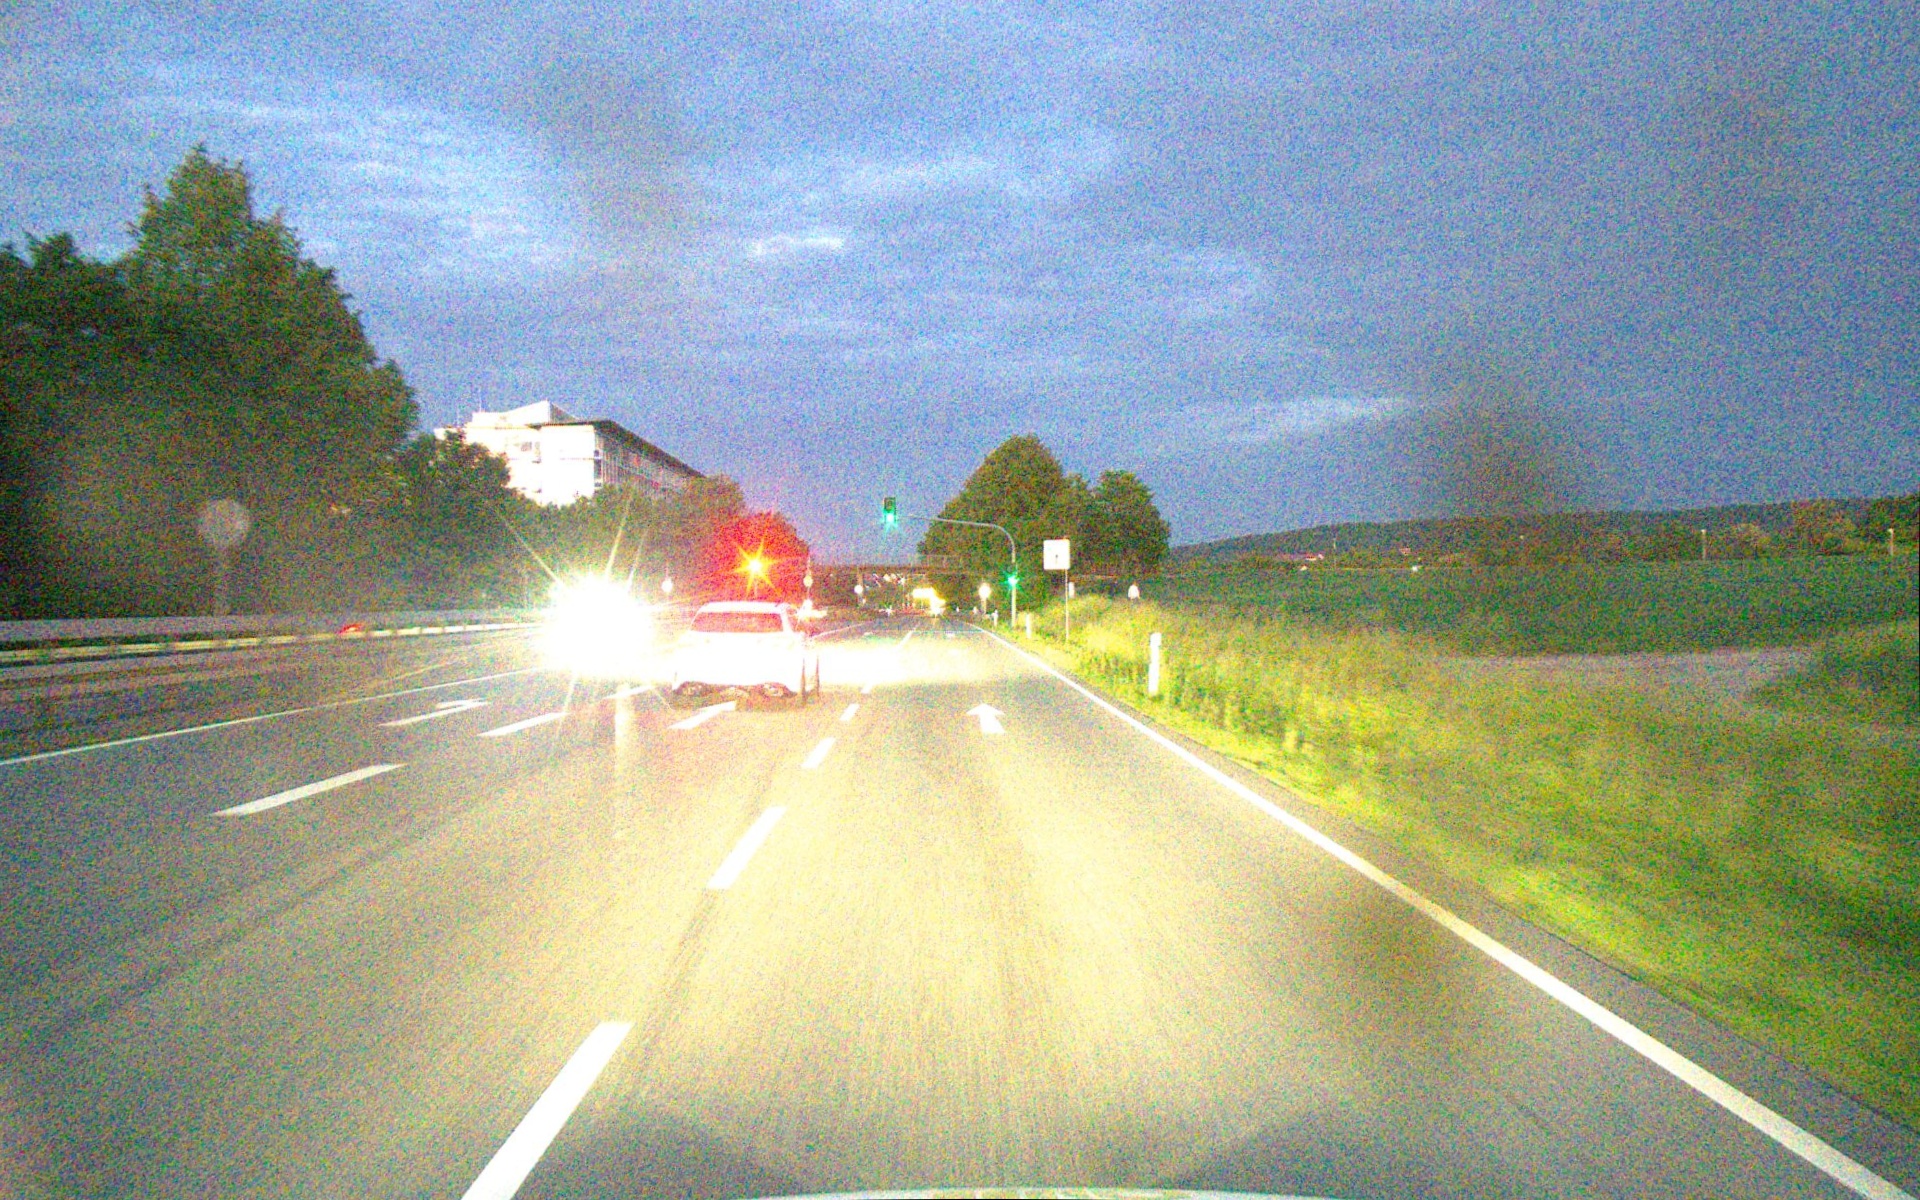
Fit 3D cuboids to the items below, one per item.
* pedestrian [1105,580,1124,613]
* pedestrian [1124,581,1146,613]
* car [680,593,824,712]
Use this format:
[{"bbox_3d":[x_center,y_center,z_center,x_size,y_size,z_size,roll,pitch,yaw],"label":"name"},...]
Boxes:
[{"bbox_3d":[8.522,-0.207,91.468,0.903,1.824,1.106,1,0,-1],"label":"pedestrian"},{"bbox_3d":[9.674,-0.142,91.417,1.068,1.753,1.260,1,0,-2],"label":"pedestrian"},{"bbox_3d":[-2.874,0.670,23.688,1.609,1.516,4.578,1,0,-2],"label":"car"}]
